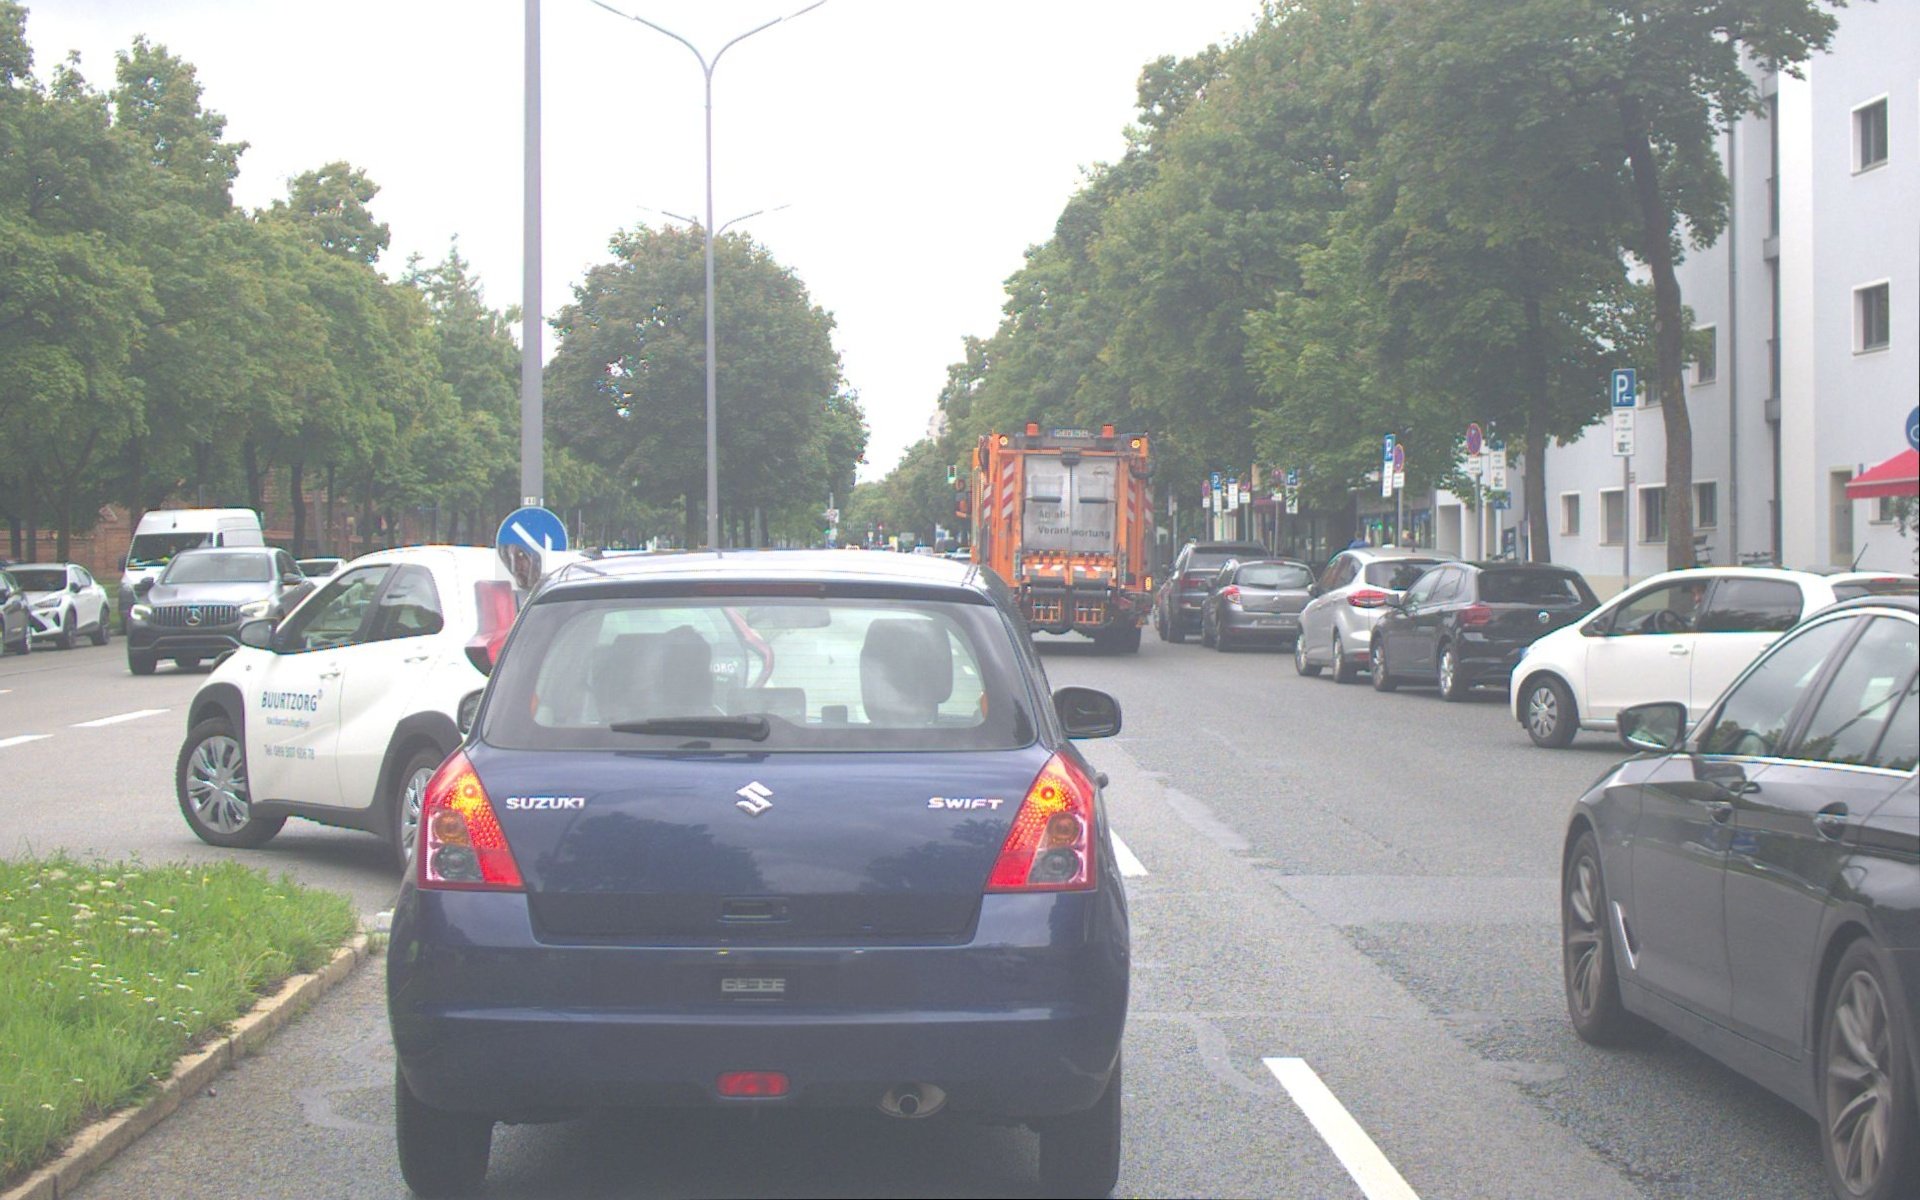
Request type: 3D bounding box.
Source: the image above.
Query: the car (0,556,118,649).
[{"bbox_3d":[-16.058,0.057,59.977,1.821,1.522,4.299,-2,0,-2],"label":"car"}]

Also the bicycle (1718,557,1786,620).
[{"bbox_3d":[13.635,-0.207,59.251,0.621,1.043,2.195,0,1,-1],"label":"bicycle"}]

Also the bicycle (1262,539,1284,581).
[{"bbox_3d":[10.956,-1.397,120.357,0.580,1.458,1.688,0,1,-1],"label":"bicycle"}]

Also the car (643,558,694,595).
[{"bbox_3d":[-11.940,-0.972,140.959,1.815,1.443,4.783,-1,1,-2],"label":"car"}]

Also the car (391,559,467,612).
[{"bbox_3d":[-16.792,-0.479,108.832,1.886,1.532,4.315,-3,1,-3],"label":"car"}]

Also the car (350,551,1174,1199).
[{"bbox_3d":[-0.441,0.622,9.324,1.753,1.499,4.000,0,1,-1],"label":"car"}]

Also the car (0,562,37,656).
[{"bbox_3d":[-15.893,0.159,54.348,1.821,1.442,4.001,-2,1,-5],"label":"car"}]

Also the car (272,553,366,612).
[{"bbox_3d":[-16.656,-0.441,89.500,1.857,1.485,4.142,0,0,-2],"label":"car"}]

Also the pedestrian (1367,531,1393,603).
[{"bbox_3d":[10.310,-0.811,84.370,0.499,1.727,0.733,-2,1,-1],"label":"pedestrian"}]

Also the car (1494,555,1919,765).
[{"bbox_3d":[5.932,0.408,26.399,1.687,1.485,3.434,0,1,-36],"label":"car"}]

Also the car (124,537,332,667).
[{"bbox_3d":[-9.465,-0.016,44.798,1.821,1.584,4.502,0,1,-1],"label":"car"}]

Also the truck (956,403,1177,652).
[{"bbox_3d":[1.506,-1.139,55.839,3.041,3.545,13.675,0,1,-1],"label":"truck"}]

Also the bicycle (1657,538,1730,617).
[{"bbox_3d":[13.509,-0.427,63.387,0.702,1.402,2.593,-2,1,-1],"label":"bicycle"}]

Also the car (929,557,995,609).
[{"bbox_3d":[0.047,-0.528,103.161,1.829,1.517,3.771,0,1,-2],"label":"car"}]

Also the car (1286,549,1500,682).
[{"bbox_3d":[5.185,0.151,41.720,1.829,1.517,4.524,0,1,-3],"label":"car"}]

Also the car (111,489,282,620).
[{"bbox_3d":[-16.346,-1.012,73.965,2.139,2.634,7.106,-2,1,-1],"label":"car"}]

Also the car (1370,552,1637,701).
[{"bbox_3d":[5.665,0.236,36.258,1.829,1.468,3.889,0,1,-6],"label":"car"}]

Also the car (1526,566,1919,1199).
[{"bbox_3d":[2.827,0.695,8.784,1.821,1.472,4.691,2,1,-2],"label":"car"}]

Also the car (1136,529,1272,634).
[{"bbox_3d":[4.157,-0.349,59.264,1.829,1.740,4.509,0,1,-3],"label":"car"}]

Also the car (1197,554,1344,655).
[{"bbox_3d":[4.858,0.041,54.218,1.829,1.517,3.771,0,1,-2],"label":"car"}]

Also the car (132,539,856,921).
[{"bbox_3d":[-2.272,0.494,15.987,1.822,1.548,3.720,-1,1,-35],"label":"car"}]
